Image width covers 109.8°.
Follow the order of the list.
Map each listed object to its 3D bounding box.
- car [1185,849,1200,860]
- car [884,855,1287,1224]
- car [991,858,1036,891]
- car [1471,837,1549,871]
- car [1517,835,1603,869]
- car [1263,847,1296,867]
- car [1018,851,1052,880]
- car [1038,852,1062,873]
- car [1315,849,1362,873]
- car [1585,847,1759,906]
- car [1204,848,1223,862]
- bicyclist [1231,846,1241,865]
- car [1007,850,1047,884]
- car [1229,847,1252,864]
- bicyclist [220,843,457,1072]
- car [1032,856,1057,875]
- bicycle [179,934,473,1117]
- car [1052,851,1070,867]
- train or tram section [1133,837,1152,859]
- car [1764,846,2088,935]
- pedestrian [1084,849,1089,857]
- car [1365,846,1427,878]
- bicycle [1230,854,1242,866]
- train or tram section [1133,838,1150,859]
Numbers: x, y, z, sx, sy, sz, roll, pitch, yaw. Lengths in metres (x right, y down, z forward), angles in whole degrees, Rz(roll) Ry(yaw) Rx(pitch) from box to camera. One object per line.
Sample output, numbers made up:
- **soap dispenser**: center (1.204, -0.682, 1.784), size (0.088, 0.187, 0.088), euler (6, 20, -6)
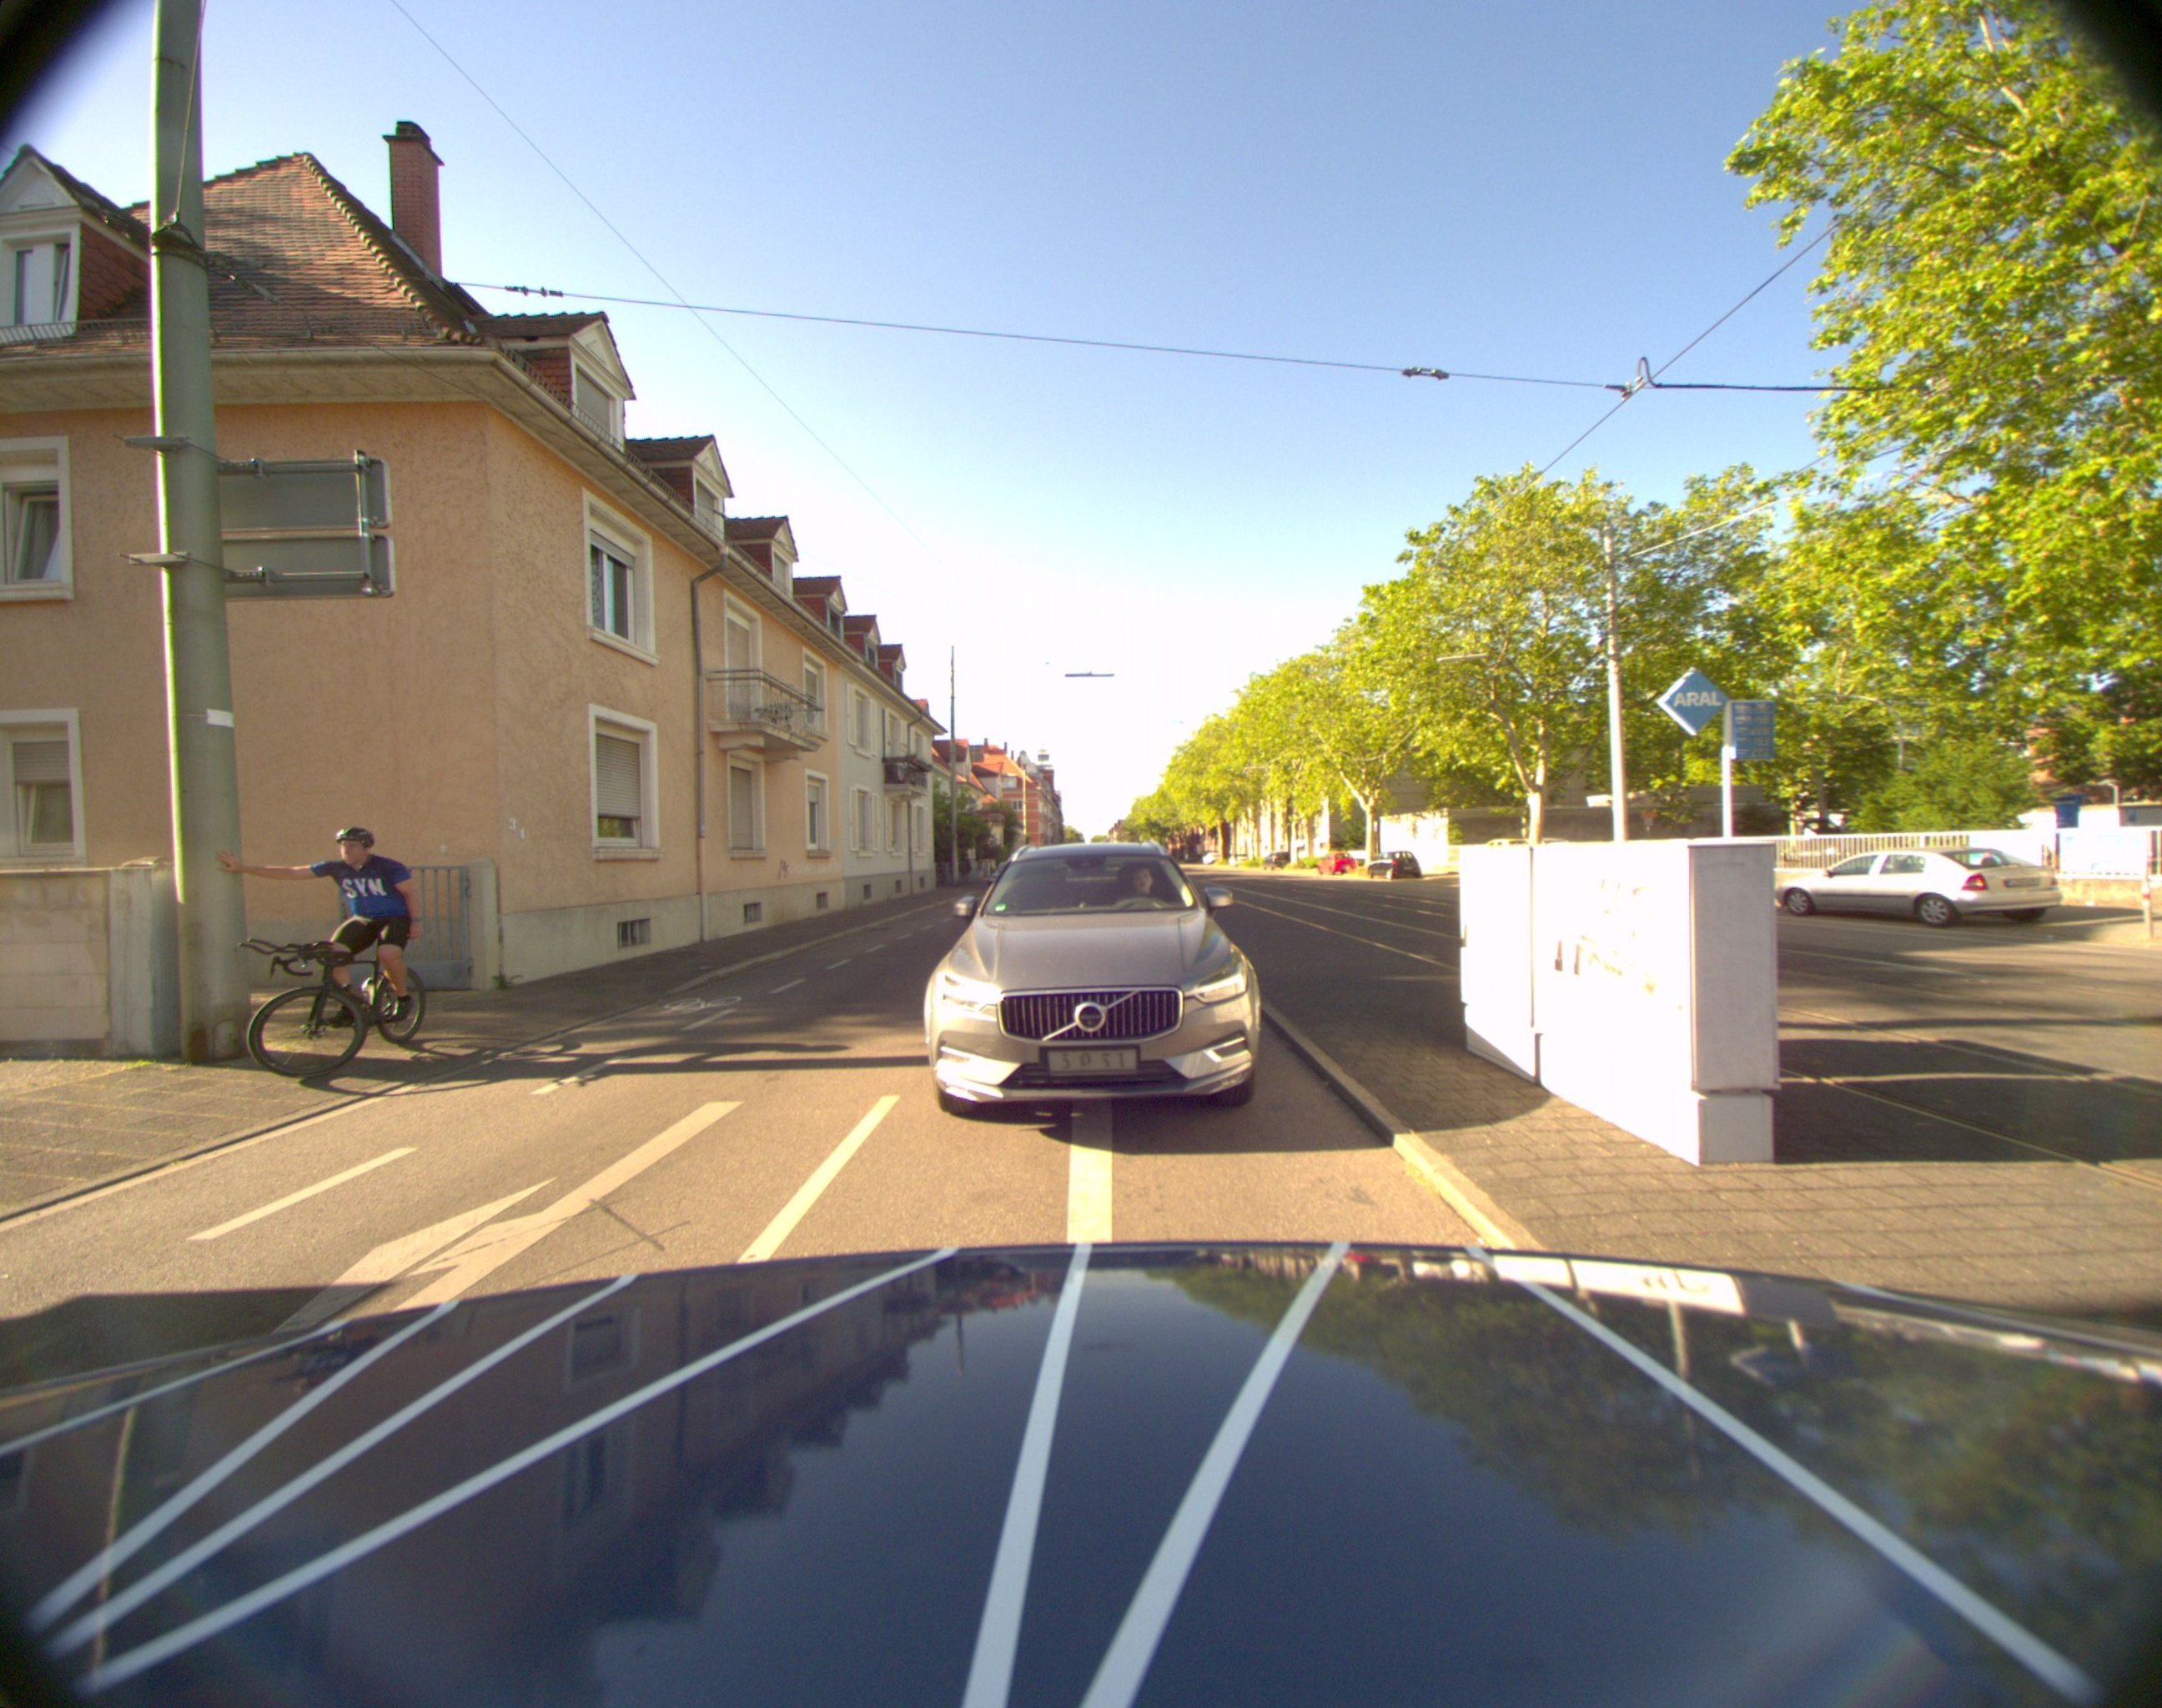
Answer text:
- **car**: center (18.378, -0.003, 125.411), size (1.845, 1.664, 4.098), euler (-4, 0, 3)
- **car**: center (0.004, 0.889, 5.790), size (1.892, 1.695, 4.318), euler (-1, 0, -1)
- **car**: center (-3.225, 0.948, 36.979), size (1.847, 1.412, 3.999), euler (-1, 0, -1)
- **car**: center (21.754, -0.025, 38.716), size (1.845, 1.524, 4.001), euler (-4, 0, 4)
- **car**: center (24.048, -0.109, 38.338), size (1.845, 1.524, 4.000), euler (-4, 0, 2)
- **car**: center (17.175, 0.227, 65.897), size (1.845, 1.607, 4.098), euler (-4, 0, 3)
- **car**: center (-2.779, 0.676, 46.755), size (1.847, 1.681, 4.000), euler (-1, 0, 0)
- **car**: center (-2.669, 0.697, 65.772), size (1.847, 1.681, 4.000), euler (-1, 0, 0)
- **car**: center (16.967, 0.448, 50.312), size (1.845, 1.400, 4.001), euler (-4, 0, 3)
- **car**: center (16.521, 0.569, 21.551), size (1.845, 1.400, 4.138), euler (-4, 0, 4)
- **car**: center (17.603, 0.080, 100.908), size (1.845, 1.664, 4.098), euler (-4, 0, 3)
- **bicyclist**: center (15.257, 0.160, 74.920), size (0.720, 1.853, 1.071), euler (-1, 1, 0)
- **car**: center (-2.951, 0.688, 42.276), size (1.847, 1.742, 4.144), euler (-1, 0, 0)
- **car**: center (17.497, 0.121, 83.545), size (1.845, 1.664, 4.098), euler (-4, 0, 3)
- **bicyclist**: center (-6.168, 0.811, 6.376), size (1.071, 1.728, 0.853), euler (4, 1, 1)
- **car**: center (-2.873, 0.862, 60.408), size (1.808, 1.402, 3.999), euler (-1, 0, -1)
- **bicycle**: center (-5.925, 1.277, 6.126), size (0.594, 1.045, 1.719), euler (4, 1, 1)
- **car**: center (-2.236, 0.554, 85.486), size (1.999, 1.641, 4.658), euler (-1, 0, -1)
- **train or tram section**: center (10.274, -0.945, 127.319), size (2.861, 3.456, 10.184), euler (-1, 0, 3)
- **car**: center (16.239, 0.618, 14.978), size (1.846, 1.400, 3.999), euler (-4, 0, -1)
- **pedestrian**: center (1.251, -0.240, 175.900), size (1.104, 2.002, 1.242), euler (-1, 1, 1)
- **car**: center (16.972, 0.410, 41.088), size (1.845, 1.524, 4.001), euler (-4, 0, 4)
- **bicycle**: center (15.302, 0.575, 74.902), size (0.654, 1.114, 2.533), euler (-1, 0, 1)
- **train or tram section**: center (11.025, -1.062, 137.420), size (2.842, 3.456, 10.186), euler (-2, 1, 6)
